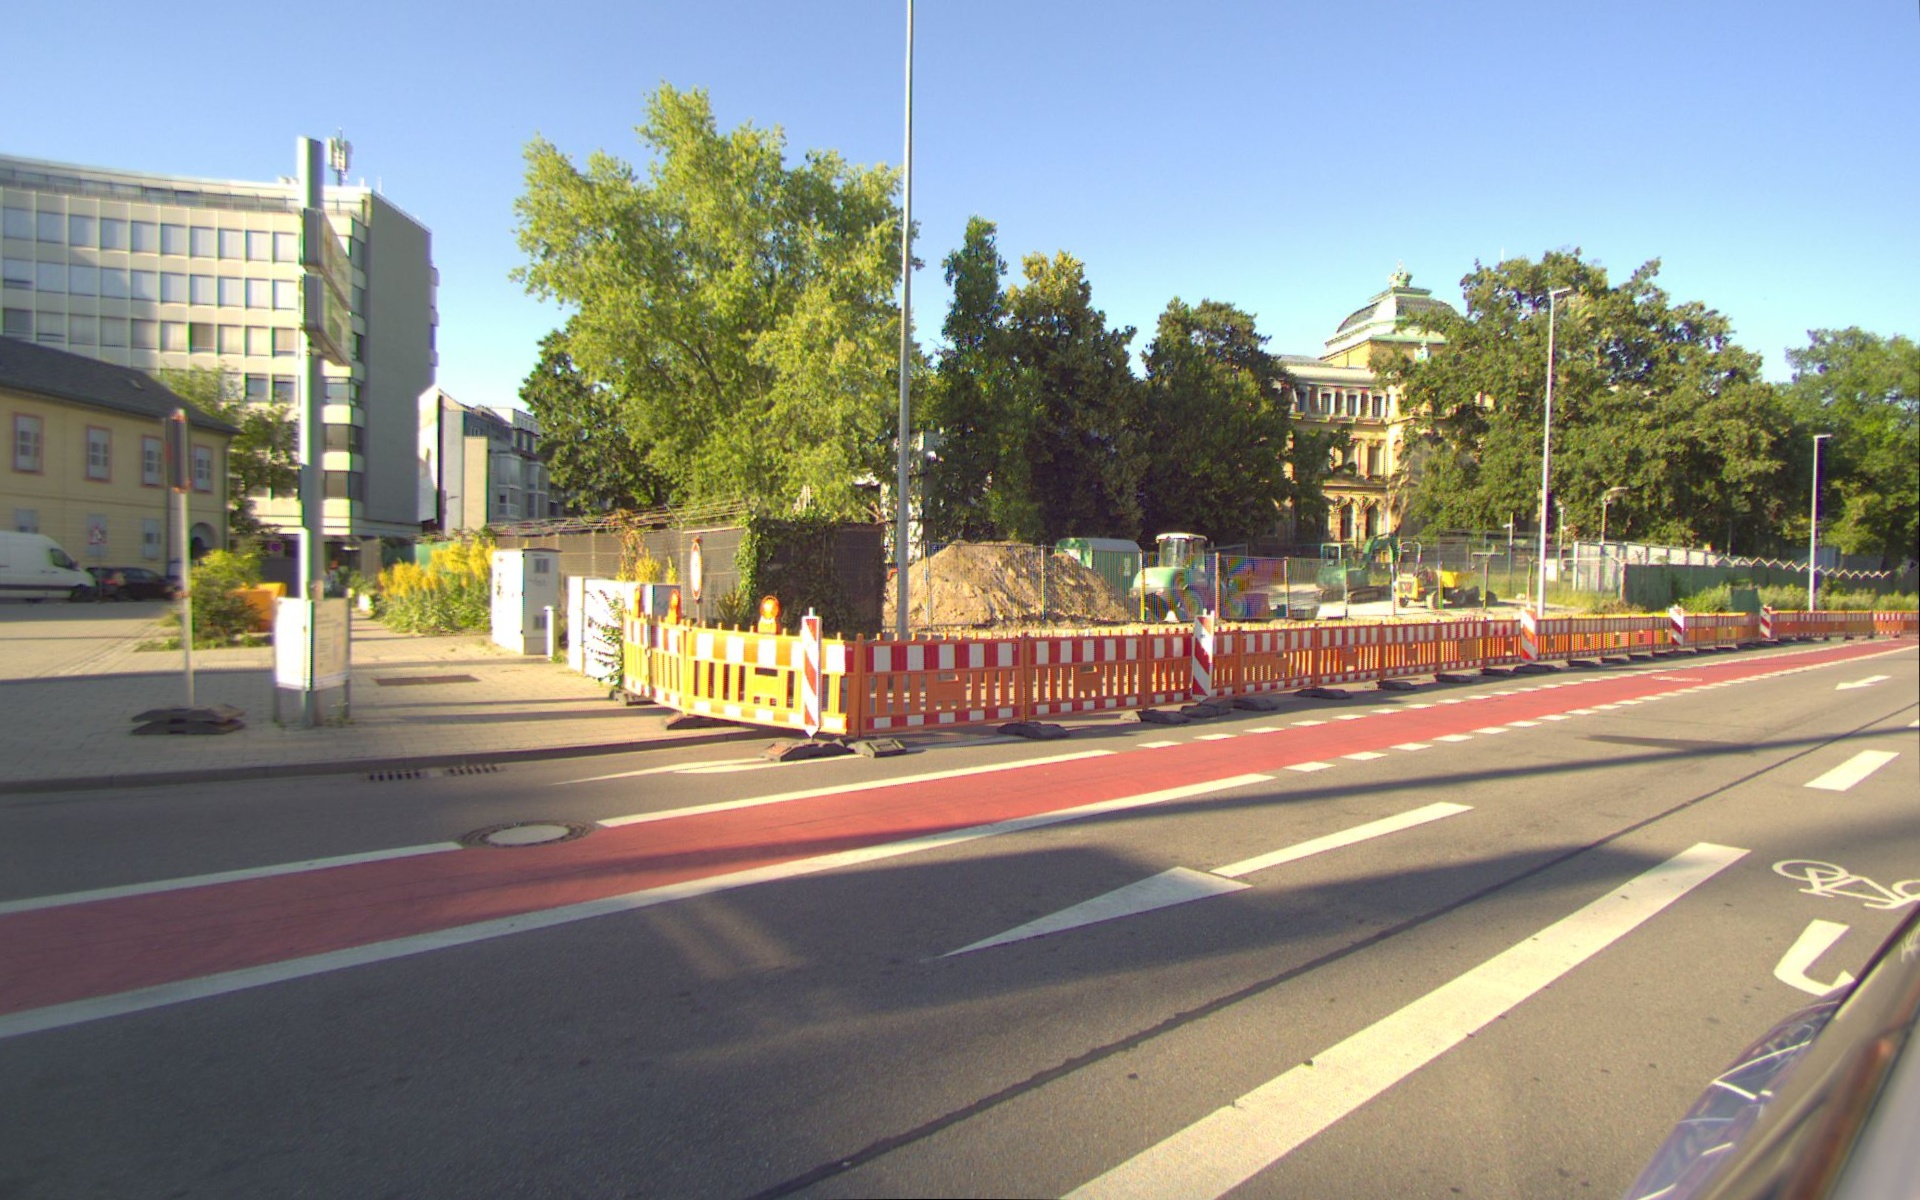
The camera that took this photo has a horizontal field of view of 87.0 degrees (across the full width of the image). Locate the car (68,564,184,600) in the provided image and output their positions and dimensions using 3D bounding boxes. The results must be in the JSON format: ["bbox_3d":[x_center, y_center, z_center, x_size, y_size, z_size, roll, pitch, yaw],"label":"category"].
[{"bbox_3d":[-34.345,-0.730,41.820,1.682,1.382,3.761,0,0,1],"label":"car"}]

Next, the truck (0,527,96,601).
[{"bbox_3d":[-34.319,-1.253,36.061,2.258,2.581,5.638,0,0,1],"label":"truck"}]

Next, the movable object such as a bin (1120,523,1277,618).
[{"bbox_3d":[7.434,-0.874,31.299,4.920,2.717,1.999,-1,0,-36],"label":"movable object such as a bin"}]

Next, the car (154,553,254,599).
[{"bbox_3d":[-34.400,-1.083,46.174,1.682,2.005,3.761,0,0,1],"label":"car"}]

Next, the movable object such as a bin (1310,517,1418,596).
[{"bbox_3d":[18.154,-1.871,45.379,5.274,3.371,1.999,-1,0,-36],"label":"movable object such as a bin"}]

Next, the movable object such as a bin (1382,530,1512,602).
[{"bbox_3d":[20.422,-1.366,42.360,5.750,2.852,2.002,-1,0,-30],"label":"movable object such as a bin"}]
